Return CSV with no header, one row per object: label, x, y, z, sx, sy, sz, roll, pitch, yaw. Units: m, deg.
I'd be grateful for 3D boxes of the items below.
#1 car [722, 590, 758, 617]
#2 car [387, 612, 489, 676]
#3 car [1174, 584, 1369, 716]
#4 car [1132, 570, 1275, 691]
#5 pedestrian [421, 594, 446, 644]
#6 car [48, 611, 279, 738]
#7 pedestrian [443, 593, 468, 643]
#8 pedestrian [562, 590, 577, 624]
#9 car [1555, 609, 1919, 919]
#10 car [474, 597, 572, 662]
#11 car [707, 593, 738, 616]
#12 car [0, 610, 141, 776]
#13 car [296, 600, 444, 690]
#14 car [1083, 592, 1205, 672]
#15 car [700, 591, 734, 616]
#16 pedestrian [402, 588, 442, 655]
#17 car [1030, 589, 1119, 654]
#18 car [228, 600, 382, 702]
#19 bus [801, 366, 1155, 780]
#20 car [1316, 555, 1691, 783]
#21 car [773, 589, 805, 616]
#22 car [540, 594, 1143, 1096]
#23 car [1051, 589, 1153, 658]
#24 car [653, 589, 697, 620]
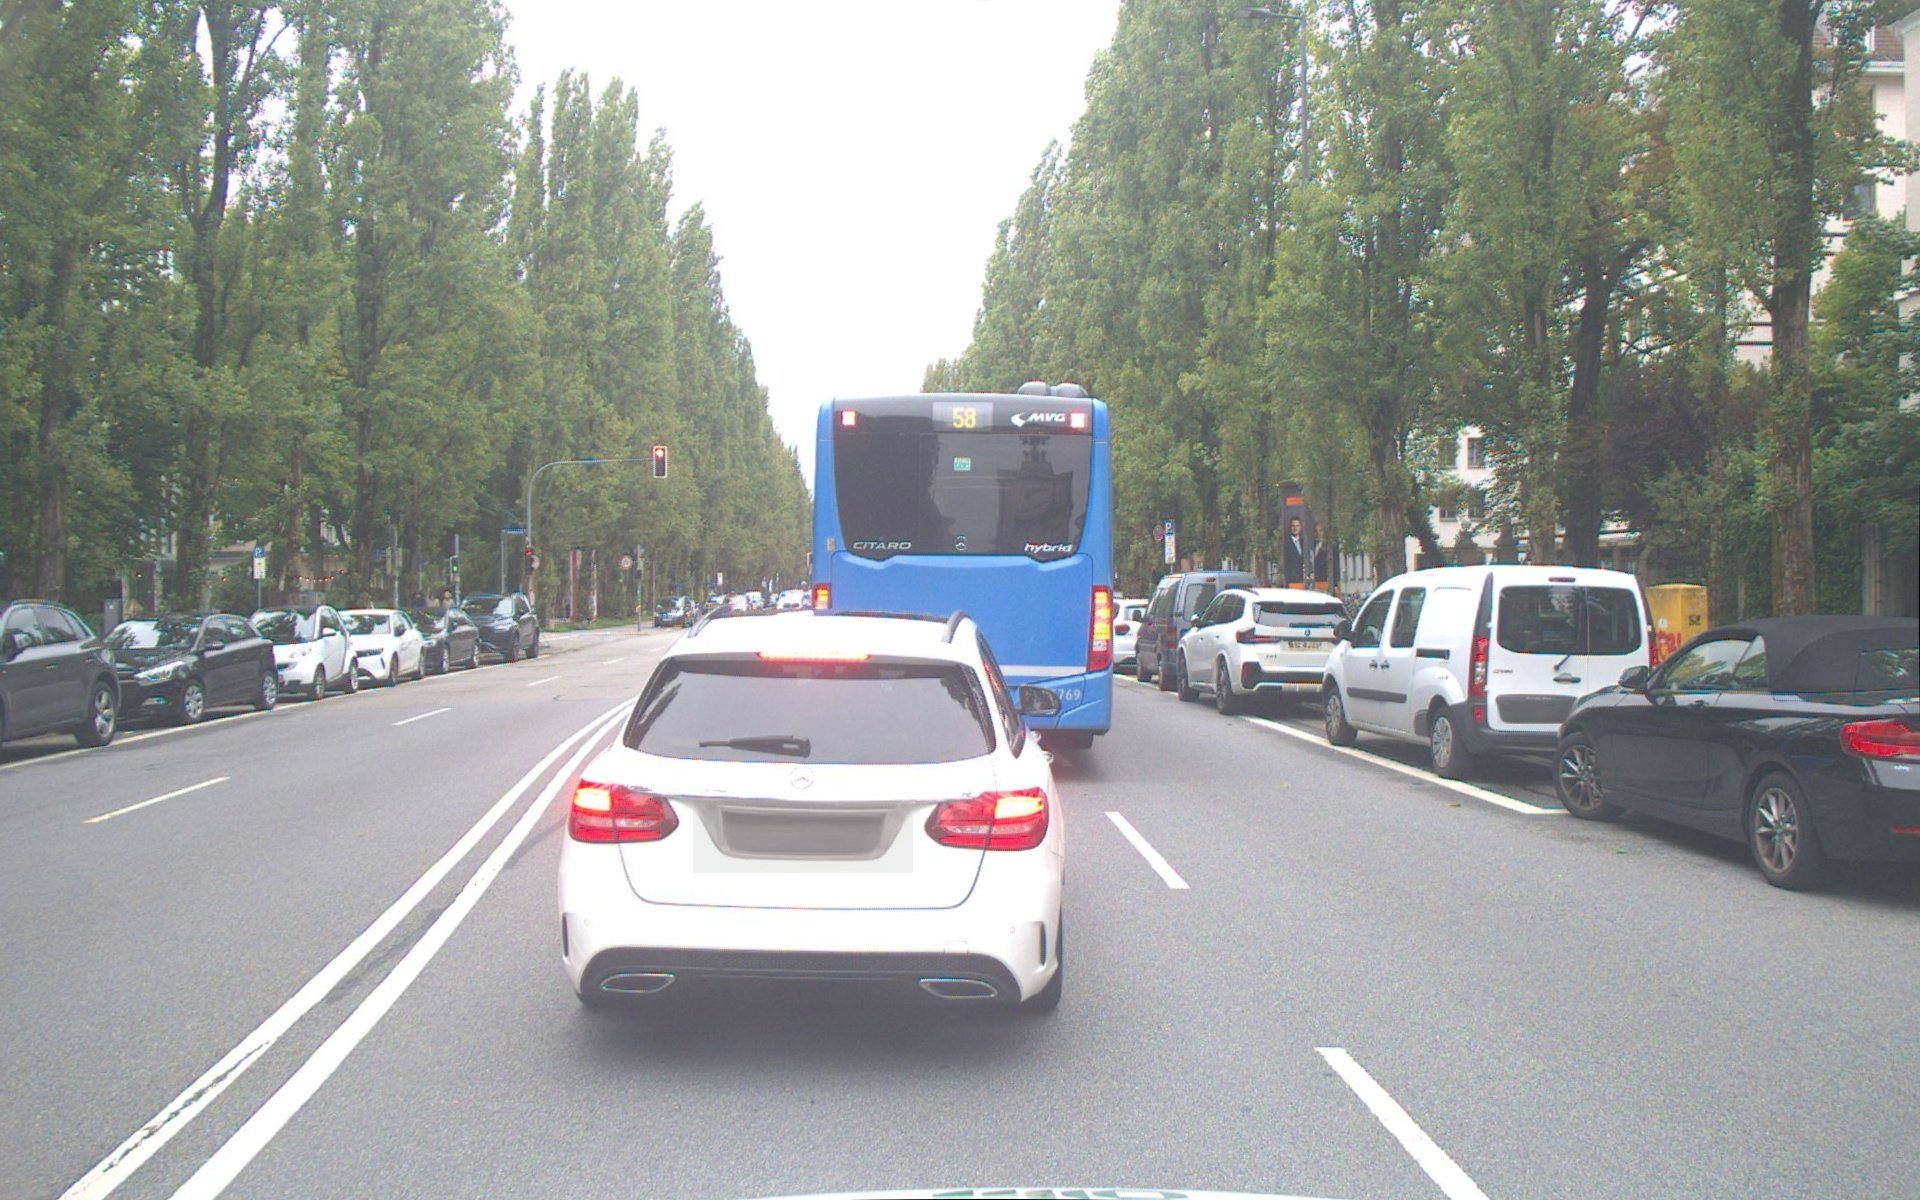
car,-12.664,0.190,95.223,1.786,1.512,3.997,-1,1,-4
car,-11.836,0.957,37.716,1.263,1.296,3.846,-1,1,-3
car,4.132,0.600,22.528,1.644,1.624,4.084,1,0,-4
car,4.011,0.454,27.811,1.669,1.868,3.998,1,0,-2
pedestrian,-21.918,0.766,68.867,0.814,2.049,0.777,-1,0,-6
car,-10.894,0.961,22.916,1.509,1.458,3.866,-4,1,-5
pedestrian,-21.053,0.760,69.035,0.814,2.049,0.777,-1,0,-6
pedestrian,-24.414,0.429,103.486,0.814,2.049,0.776,-1,0,-7
car,5.159,0.777,9.772,1.711,1.378,3.998,0,1,-2
car,-11.375,0.725,43.285,1.673,1.579,3.998,-1,0,-3
car,-16.216,0.303,112.949,1.786,1.512,3.997,-1,1,-4
car,-10.327,0.973,17.091,1.756,1.574,4.334,-4,1,-5
car,-11.343,0.813,32.067,1.675,1.575,3.996,-1,0,-5
car,3.720,0.612,34.051,1.763,1.501,3.996,-1,1,-5
car,-15.178,0.194,103.434,1.786,1.512,3.997,-1,1,-4
pedestrian,-14.739,0.576,45.359,0.806,1.795,1.079,-1,0,-6
car,3.008,0.534,44.324,1.773,1.646,3.996,-1,1,-5
car,-11.091,0.822,28.212,1.382,1.579,3.442,-1,0,-3
bus,0.352,-0.253,17.669,2.796,3.269,9.063,0,1,3
car,4.833,0.549,15.406,1.797,1.804,4.226,1,0,-5
car,-11.001,0.139,106.689,1.954,1.647,3.997,-1,0,-4
car,-0.405,0.719,7.214,1.789,1.480,4.581,0,0,-2
car,3.296,0.507,39.173,1.751,1.518,3.996,-1,1,-5
car,-14.504,0.194,84.239,1.786,1.512,3.997,-1,1,-4
